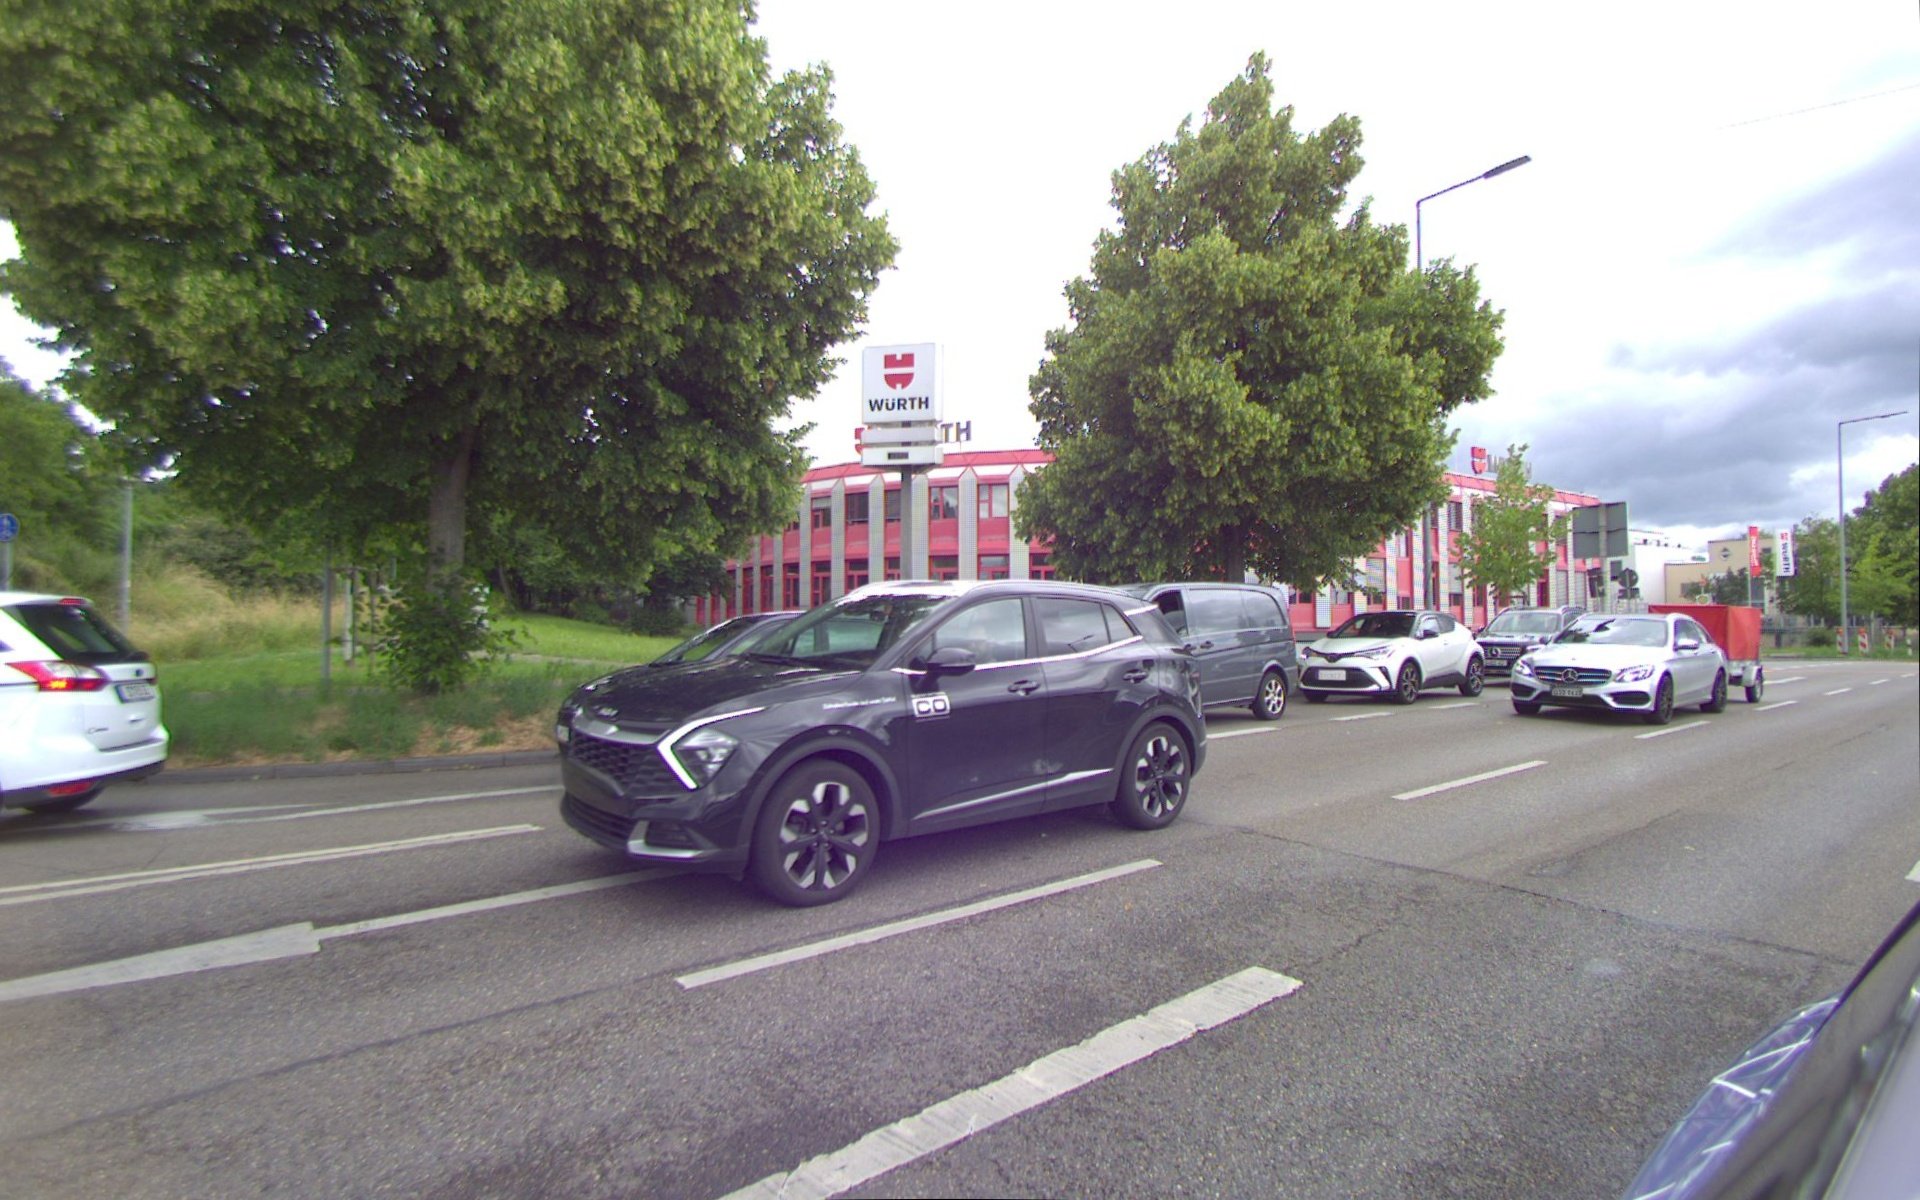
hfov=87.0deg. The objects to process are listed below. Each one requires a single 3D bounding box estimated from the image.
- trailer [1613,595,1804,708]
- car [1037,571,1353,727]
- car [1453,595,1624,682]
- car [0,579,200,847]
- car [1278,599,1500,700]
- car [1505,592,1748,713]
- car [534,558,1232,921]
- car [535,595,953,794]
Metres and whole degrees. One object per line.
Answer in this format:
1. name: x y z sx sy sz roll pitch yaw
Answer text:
1. trailer: 12.833 0.765 17.279 3.926 1.680 1.774 -1 0 -40
2. car: 3.326 0.649 13.824 4.591 1.798 1.761 1 -4 -40
3. car: 12.389 0.807 21.585 4.133 1.679 1.863 1 -3 -41
4. car: -7.850 0.715 6.603 4.278 1.676 1.767 0 -1 -20
5. car: 7.404 0.802 17.326 4.034 1.536 1.842 0 -4 -41
6. car: 9.692 0.638 14.586 4.323 1.469 1.774 -1 1 -40
7. car: -0.254 0.570 6.378 4.145 1.549 1.796 -1 1 -41
8. car: -1.985 0.773 9.575 3.495 1.526 1.607 -1 -3 -34
